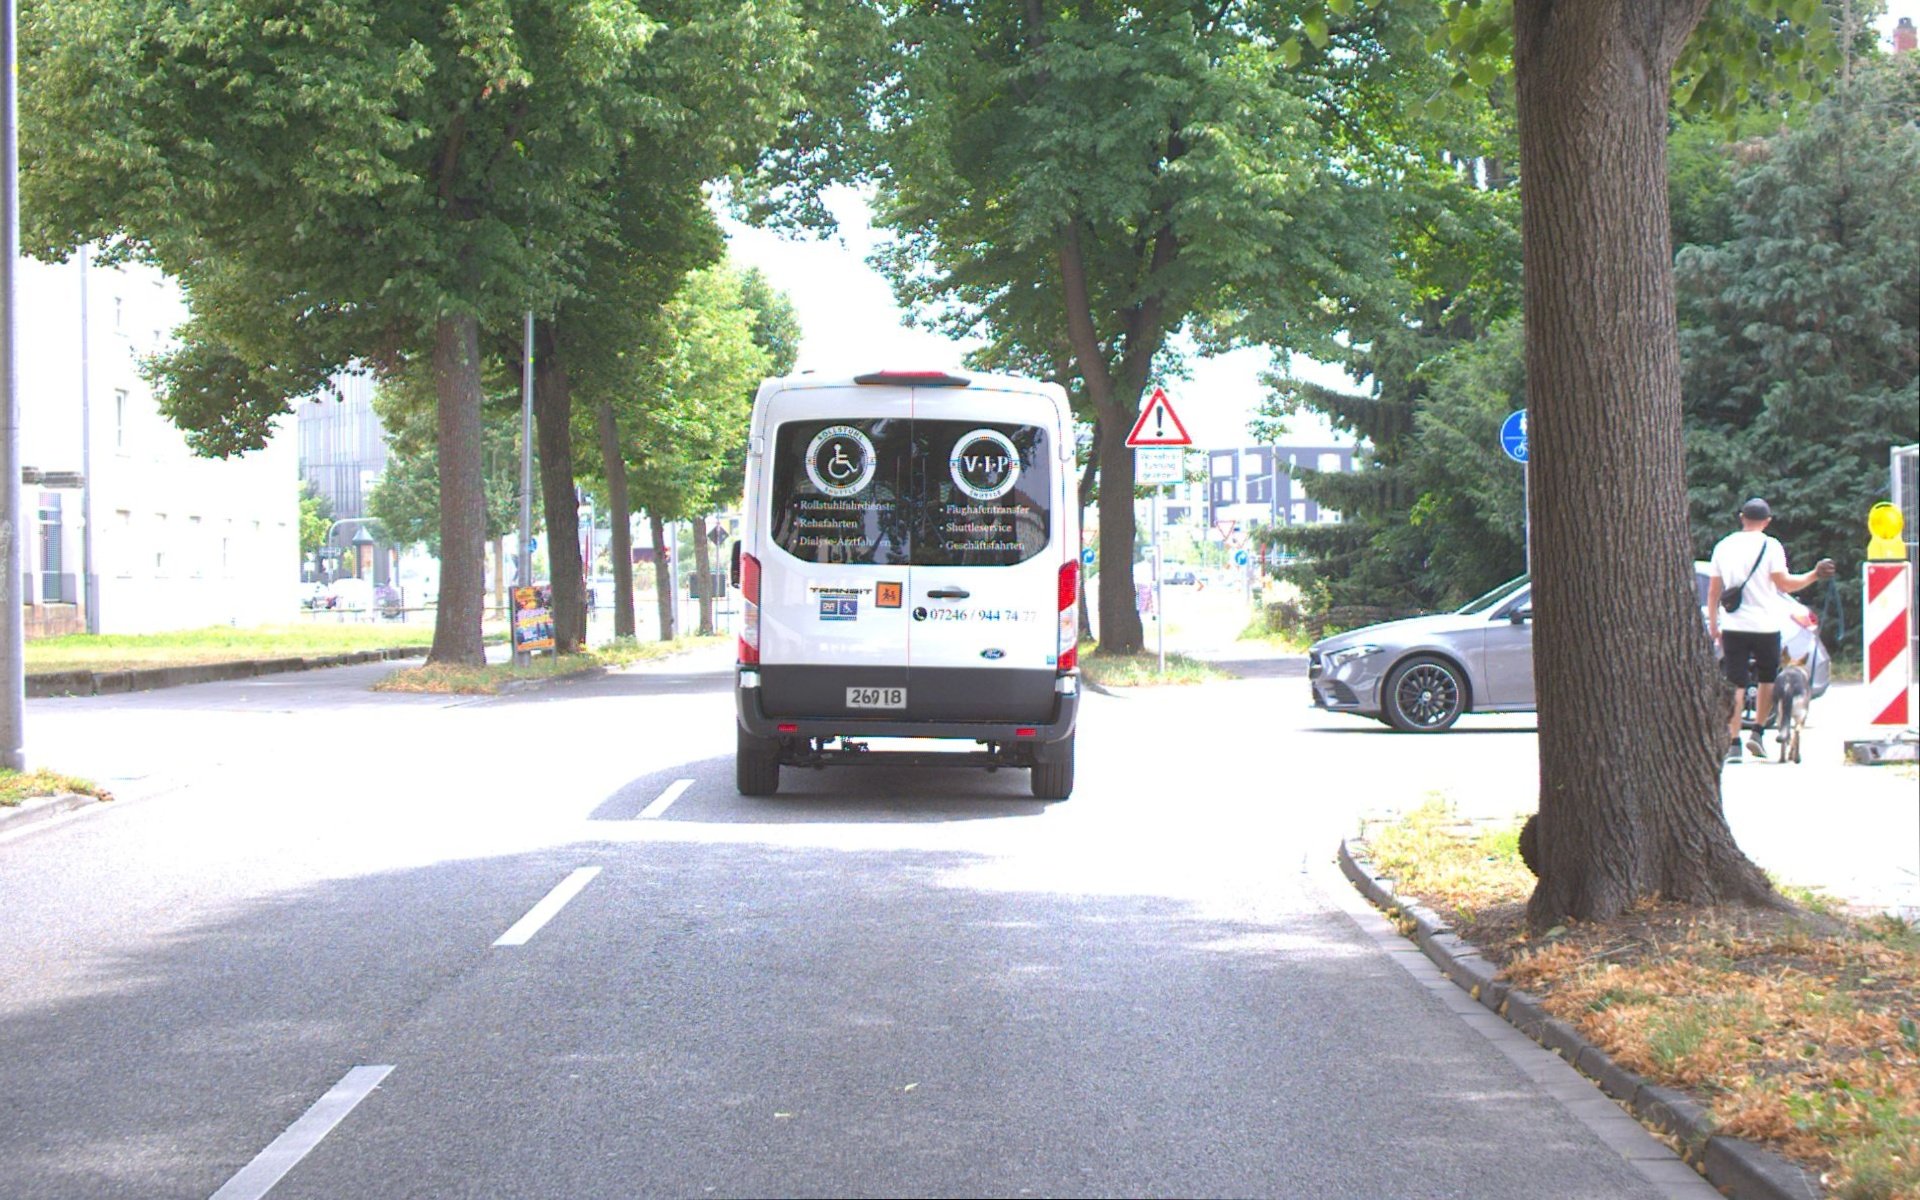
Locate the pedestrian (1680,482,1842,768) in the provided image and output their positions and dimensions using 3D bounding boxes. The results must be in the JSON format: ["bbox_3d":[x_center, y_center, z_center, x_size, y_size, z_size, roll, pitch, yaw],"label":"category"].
[{"bbox_3d":[5.249,0.155,22.494,0.883,1.808,0.888,-2,0,19],"label":"pedestrian"}]

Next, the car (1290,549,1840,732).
[{"bbox_3d":[5.122,0.358,29.583,4.371,1.438,2.011,-1,-1,1],"label":"car"}]

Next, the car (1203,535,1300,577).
[{"bbox_3d":[13.777,-2.104,162.481,4.399,1.810,2.012,-3,1,-41],"label":"car"}]

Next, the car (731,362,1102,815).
[{"bbox_3d":[-0.363,-0.139,21.320,2.062,2.531,4.001,1,2,-3],"label":"car"}]
